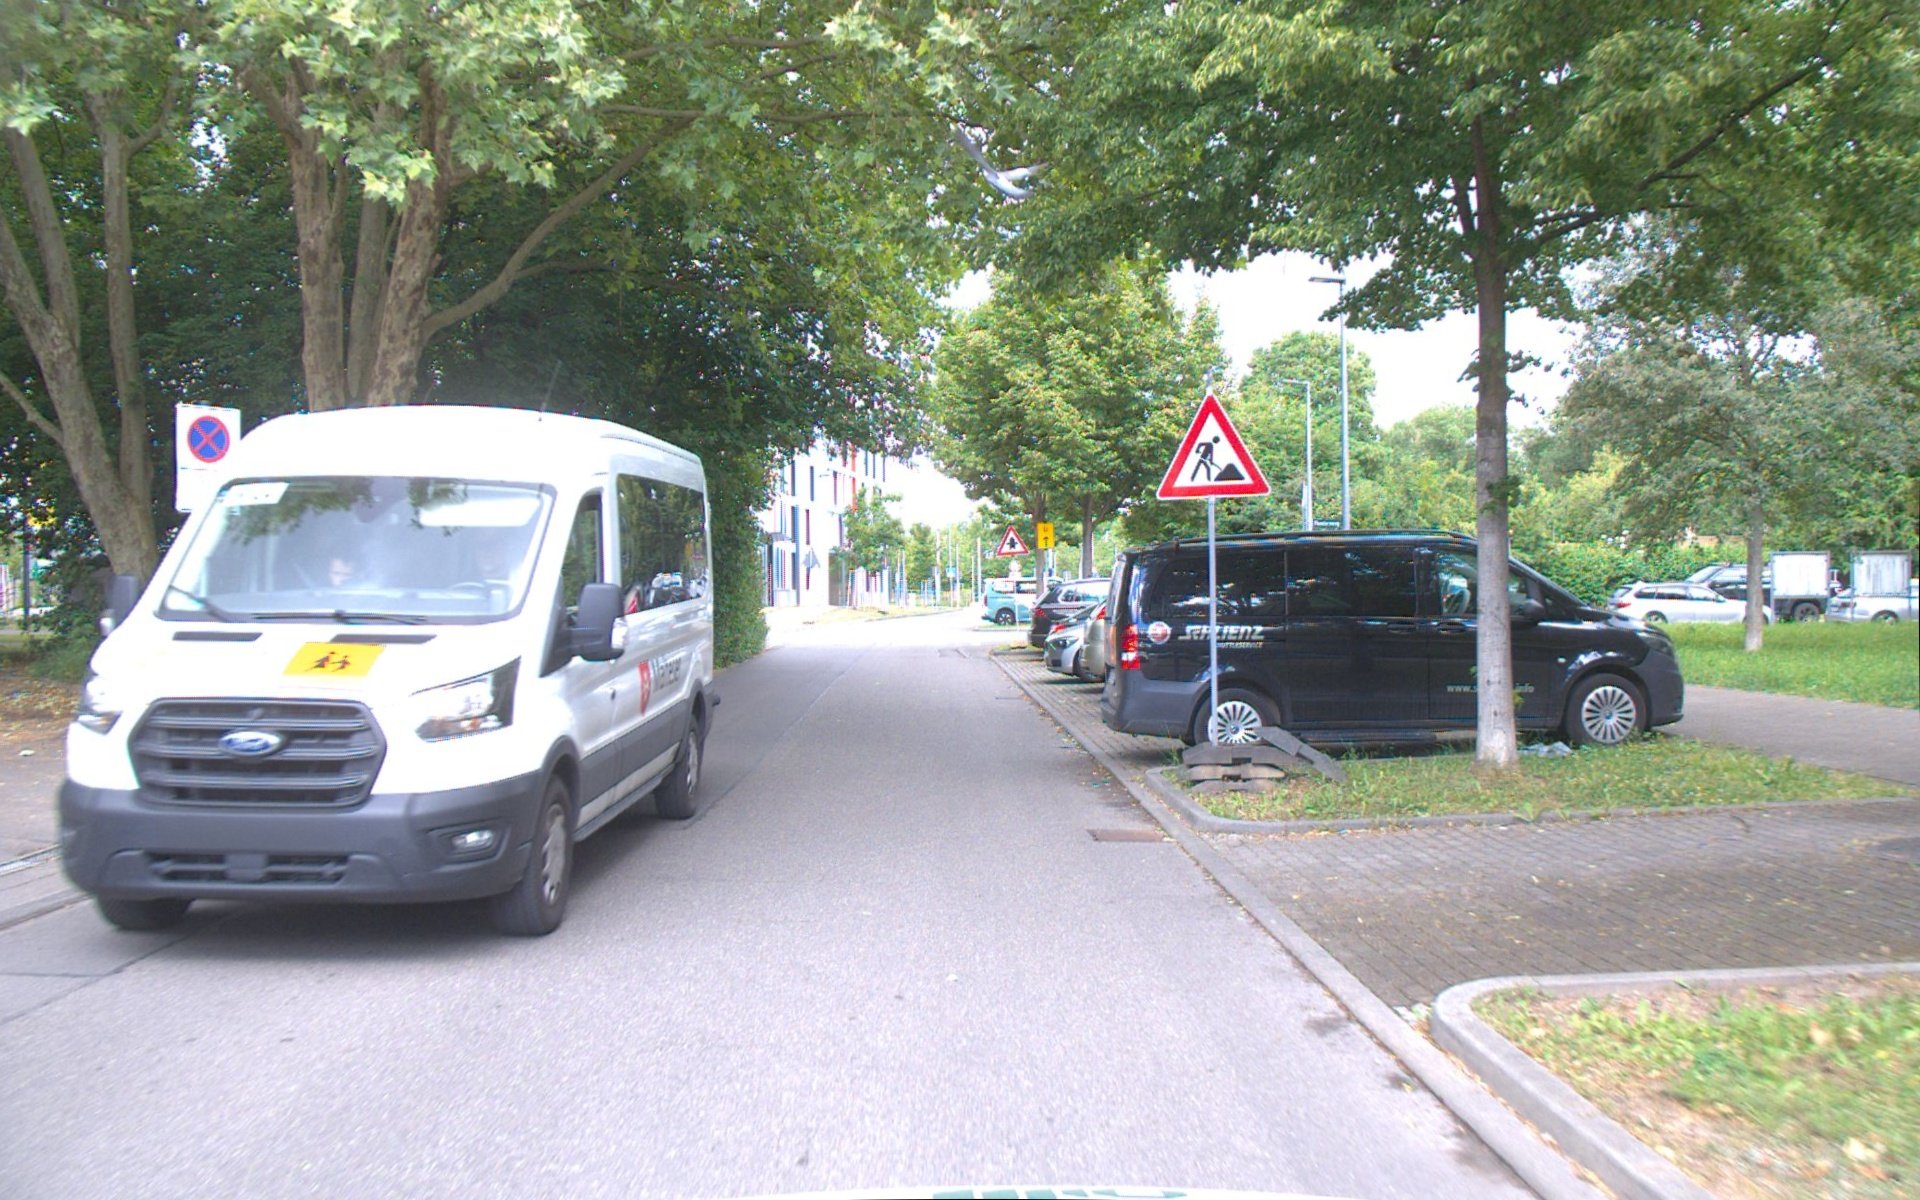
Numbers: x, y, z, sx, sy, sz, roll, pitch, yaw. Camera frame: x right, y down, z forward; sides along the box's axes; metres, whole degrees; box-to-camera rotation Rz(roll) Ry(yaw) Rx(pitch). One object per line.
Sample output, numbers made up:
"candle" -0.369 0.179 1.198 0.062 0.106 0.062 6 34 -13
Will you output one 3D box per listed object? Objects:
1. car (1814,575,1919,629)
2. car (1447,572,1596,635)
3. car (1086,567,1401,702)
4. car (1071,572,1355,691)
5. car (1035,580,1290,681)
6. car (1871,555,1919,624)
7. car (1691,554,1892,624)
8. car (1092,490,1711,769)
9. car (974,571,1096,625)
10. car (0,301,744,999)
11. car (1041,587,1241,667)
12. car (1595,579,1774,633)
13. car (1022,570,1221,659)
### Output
"car" 26.479 0.053 46.201 4.335 1.453 1.704 -1 0 5
"car" 15.981 0.109 47.181 3.699 1.697 1.769 -1 0 6
"car" 3.716 0.441 22.165 3.880 1.537 1.763 -3 0 1
"car" 3.702 0.458 24.668 3.906 1.554 1.810 -2 0 -1
"car" 3.281 0.493 27.372 3.907 1.455 1.935 -2 0 -2
"car" 31.672 -0.344 51.678 5.206 2.093 2.139 -1 0 5
"car" 26.029 -0.332 51.946 5.206 2.093 2.139 -1 0 5
"car" 3.732 0.234 14.722 4.853 2.048 2.166 -3 0 0
"car" 3.040 -0.092 67.953 4.871 2.006 1.846 -2 0 0
"car" -2.675 0.157 9.164 2.088 2.519 6.277 1 0 0
"car" 3.509 0.521 32.550 3.752 1.382 1.822 -2 0 2
"car" 20.422 0.168 46.726 4.300 1.453 1.704 -1 0 4
"car" 3.373 0.305 35.189 4.038 1.678 1.980 -2 0 2
